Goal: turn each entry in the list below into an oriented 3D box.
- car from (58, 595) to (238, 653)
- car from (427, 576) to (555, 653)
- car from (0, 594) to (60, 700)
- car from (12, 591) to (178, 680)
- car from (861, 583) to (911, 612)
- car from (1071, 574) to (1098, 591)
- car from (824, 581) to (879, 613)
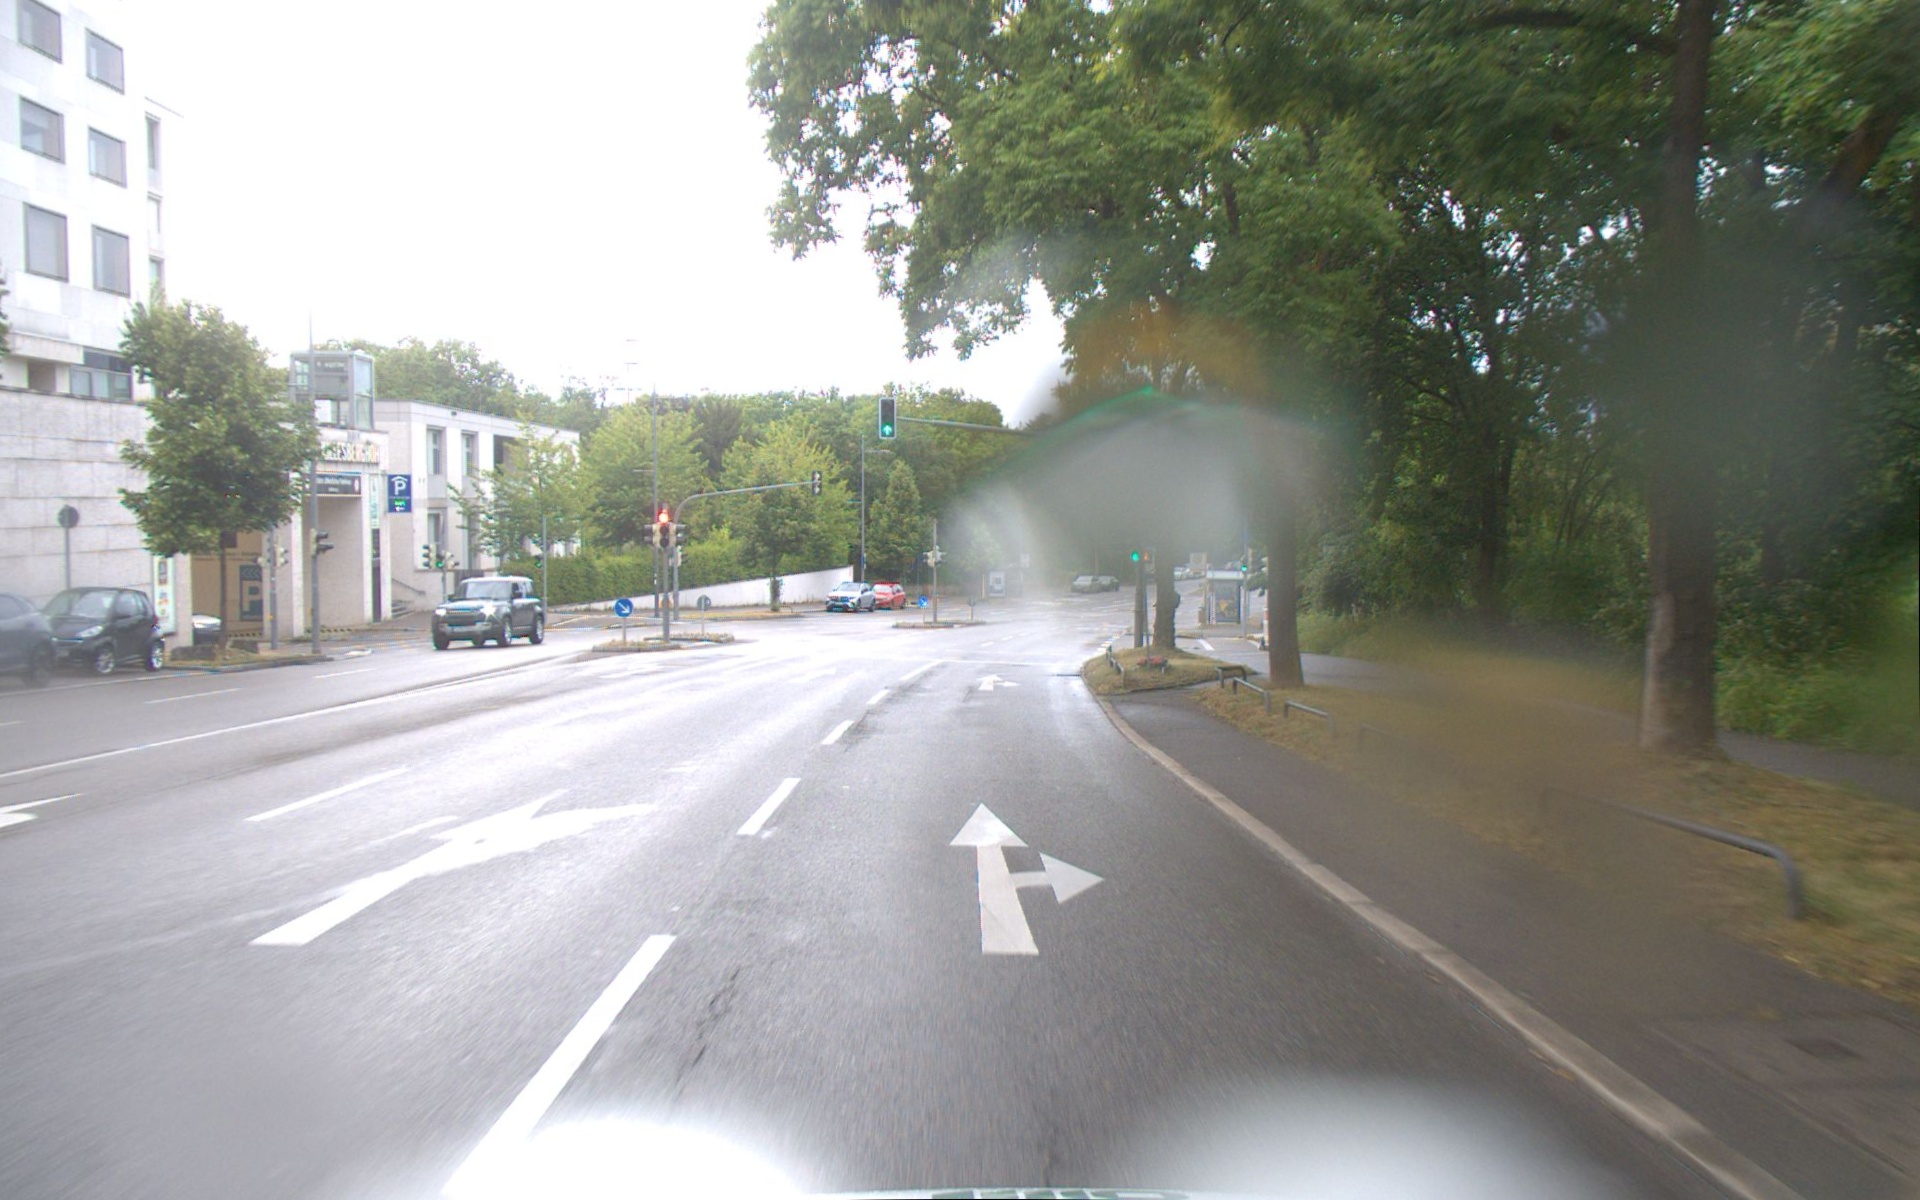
[{"bbox_3d":[-24.281,0.706,49.590,4.411,1.701,1.927,0,0,-3],"label":"car"},{"bbox_3d":[-12.832,0.355,45.549,1.880,1.889,4.509,-3,0,4],"label":"car"},{"bbox_3d":[-15.072,0.694,24.360,1.645,1.541,3.709,1,0,-1],"label":"car"},{"bbox_3d":[-15.856,0.614,30.473,1.477,1.541,2.980,1,0,-1],"label":"car"},{"bbox_3d":[-4.525,-0.160,101.721,1.835,1.602,4.226,3,1,14],"label":"car"},{"bbox_3d":[11.628,-1.646,154.441,1.677,1.486,3.752,1,0,17],"label":"car"},{"bbox_3d":[-6.206,-0.178,94.728,1.814,1.668,4.096,3,2,15],"label":"car"}]
